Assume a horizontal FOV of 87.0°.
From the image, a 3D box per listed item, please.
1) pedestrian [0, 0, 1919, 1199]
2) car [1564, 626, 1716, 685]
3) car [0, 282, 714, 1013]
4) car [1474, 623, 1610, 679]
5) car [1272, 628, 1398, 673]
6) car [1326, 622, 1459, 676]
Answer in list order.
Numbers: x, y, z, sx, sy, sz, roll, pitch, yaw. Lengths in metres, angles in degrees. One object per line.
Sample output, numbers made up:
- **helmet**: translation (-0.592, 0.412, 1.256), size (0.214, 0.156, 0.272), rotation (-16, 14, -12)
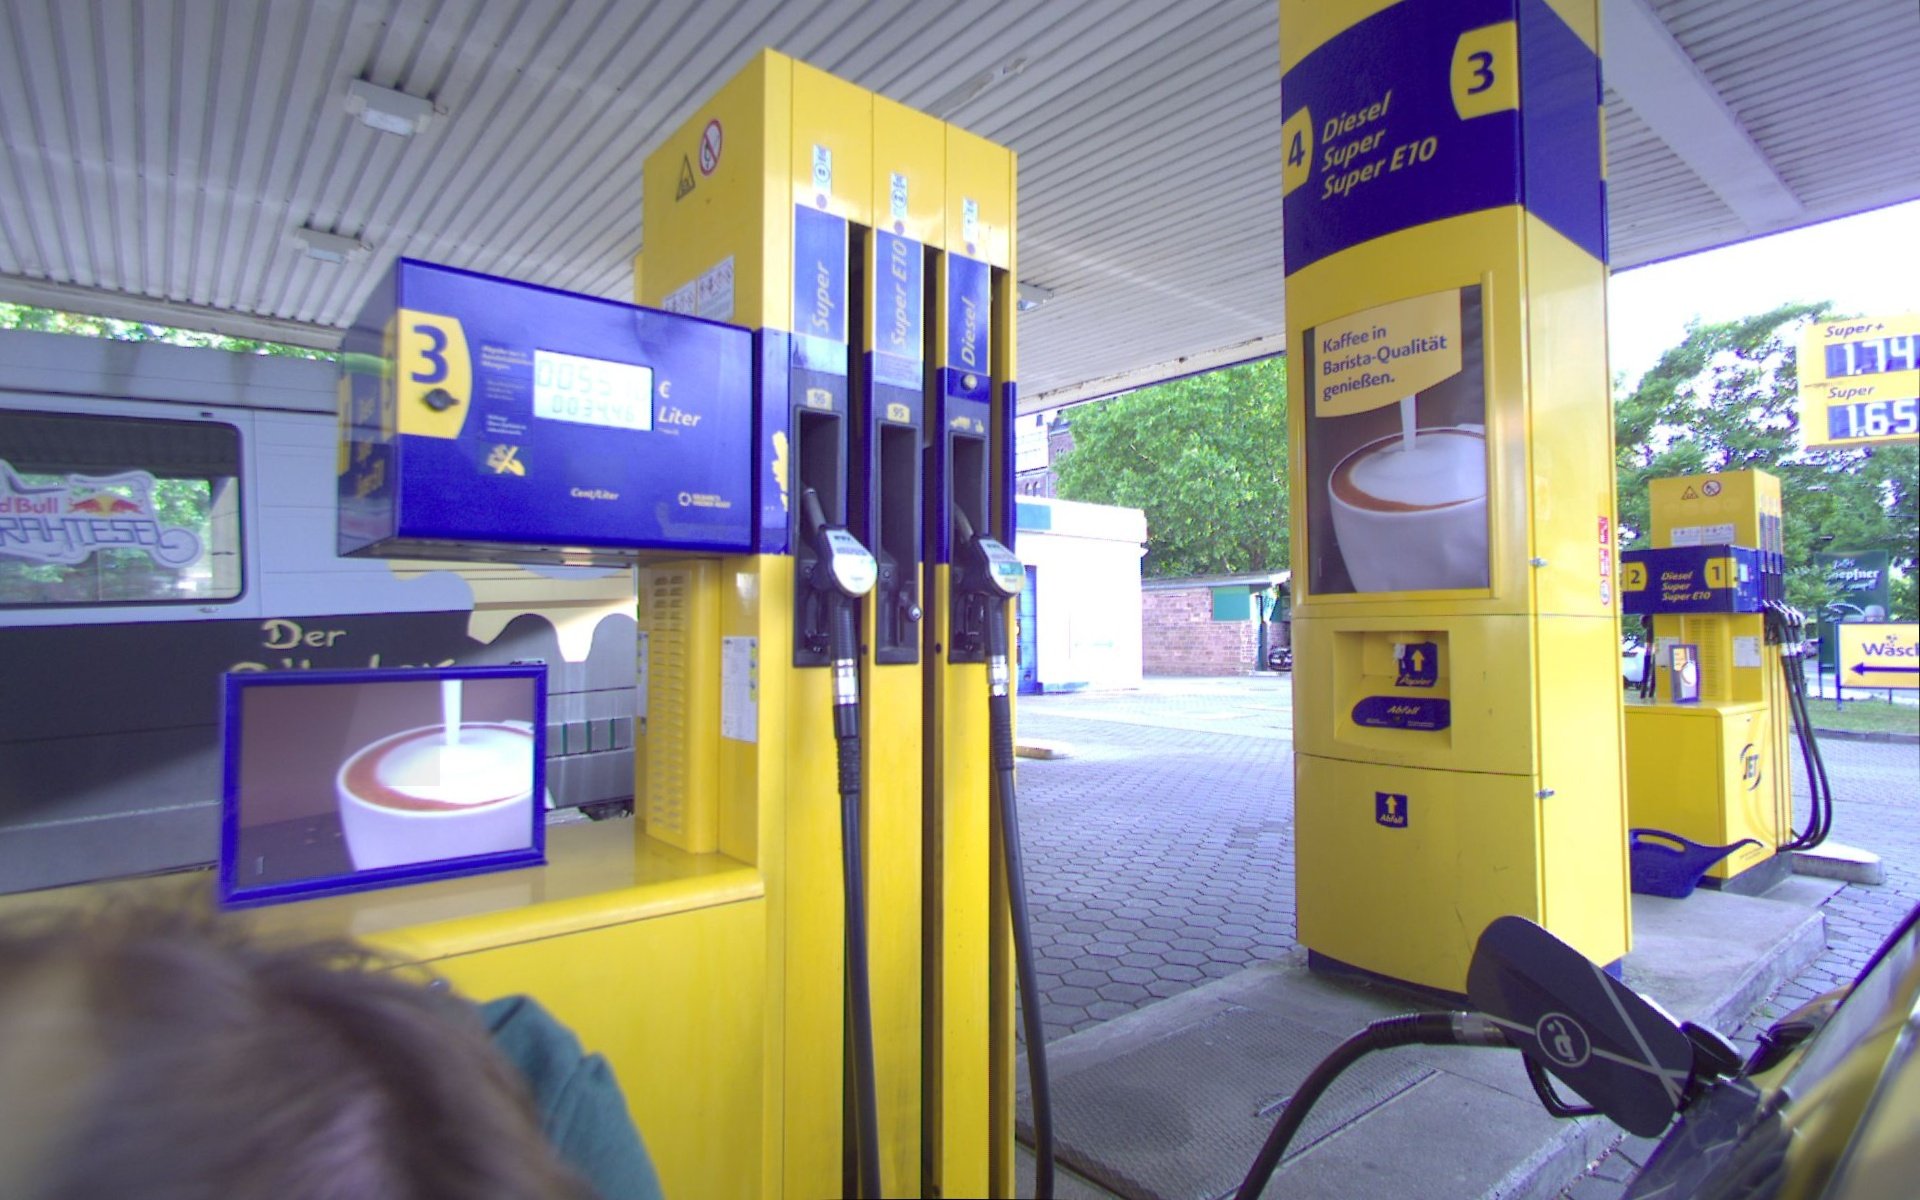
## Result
- **pedestrian**: translation (-0.335, 0.522, 0.571), size (0.975, 1.750, 1.182), rotation (-2, 1, -36)
- **car**: translation (18.249, 1.478, 27.141), size (4.112, 1.478, 1.826), rotation (2, -3, -31)
- **car**: translation (-4.102, 0.187, 4.861), size (5.248, 2.760, 2.201), rotation (0, -1, -39)
- **car**: translation (17.765, 1.568, 30.857), size (4.112, 1.606, 1.826), rotation (2, -3, -31)
- **car**: translation (12.637, 1.688, 34.039), size (4.112, 1.453, 1.826), rotation (2, -3, -31)
- **car**: translation (13.776, 1.558, 32.176), size (4.112, 1.606, 1.826), rotation (2, -3, -31)
